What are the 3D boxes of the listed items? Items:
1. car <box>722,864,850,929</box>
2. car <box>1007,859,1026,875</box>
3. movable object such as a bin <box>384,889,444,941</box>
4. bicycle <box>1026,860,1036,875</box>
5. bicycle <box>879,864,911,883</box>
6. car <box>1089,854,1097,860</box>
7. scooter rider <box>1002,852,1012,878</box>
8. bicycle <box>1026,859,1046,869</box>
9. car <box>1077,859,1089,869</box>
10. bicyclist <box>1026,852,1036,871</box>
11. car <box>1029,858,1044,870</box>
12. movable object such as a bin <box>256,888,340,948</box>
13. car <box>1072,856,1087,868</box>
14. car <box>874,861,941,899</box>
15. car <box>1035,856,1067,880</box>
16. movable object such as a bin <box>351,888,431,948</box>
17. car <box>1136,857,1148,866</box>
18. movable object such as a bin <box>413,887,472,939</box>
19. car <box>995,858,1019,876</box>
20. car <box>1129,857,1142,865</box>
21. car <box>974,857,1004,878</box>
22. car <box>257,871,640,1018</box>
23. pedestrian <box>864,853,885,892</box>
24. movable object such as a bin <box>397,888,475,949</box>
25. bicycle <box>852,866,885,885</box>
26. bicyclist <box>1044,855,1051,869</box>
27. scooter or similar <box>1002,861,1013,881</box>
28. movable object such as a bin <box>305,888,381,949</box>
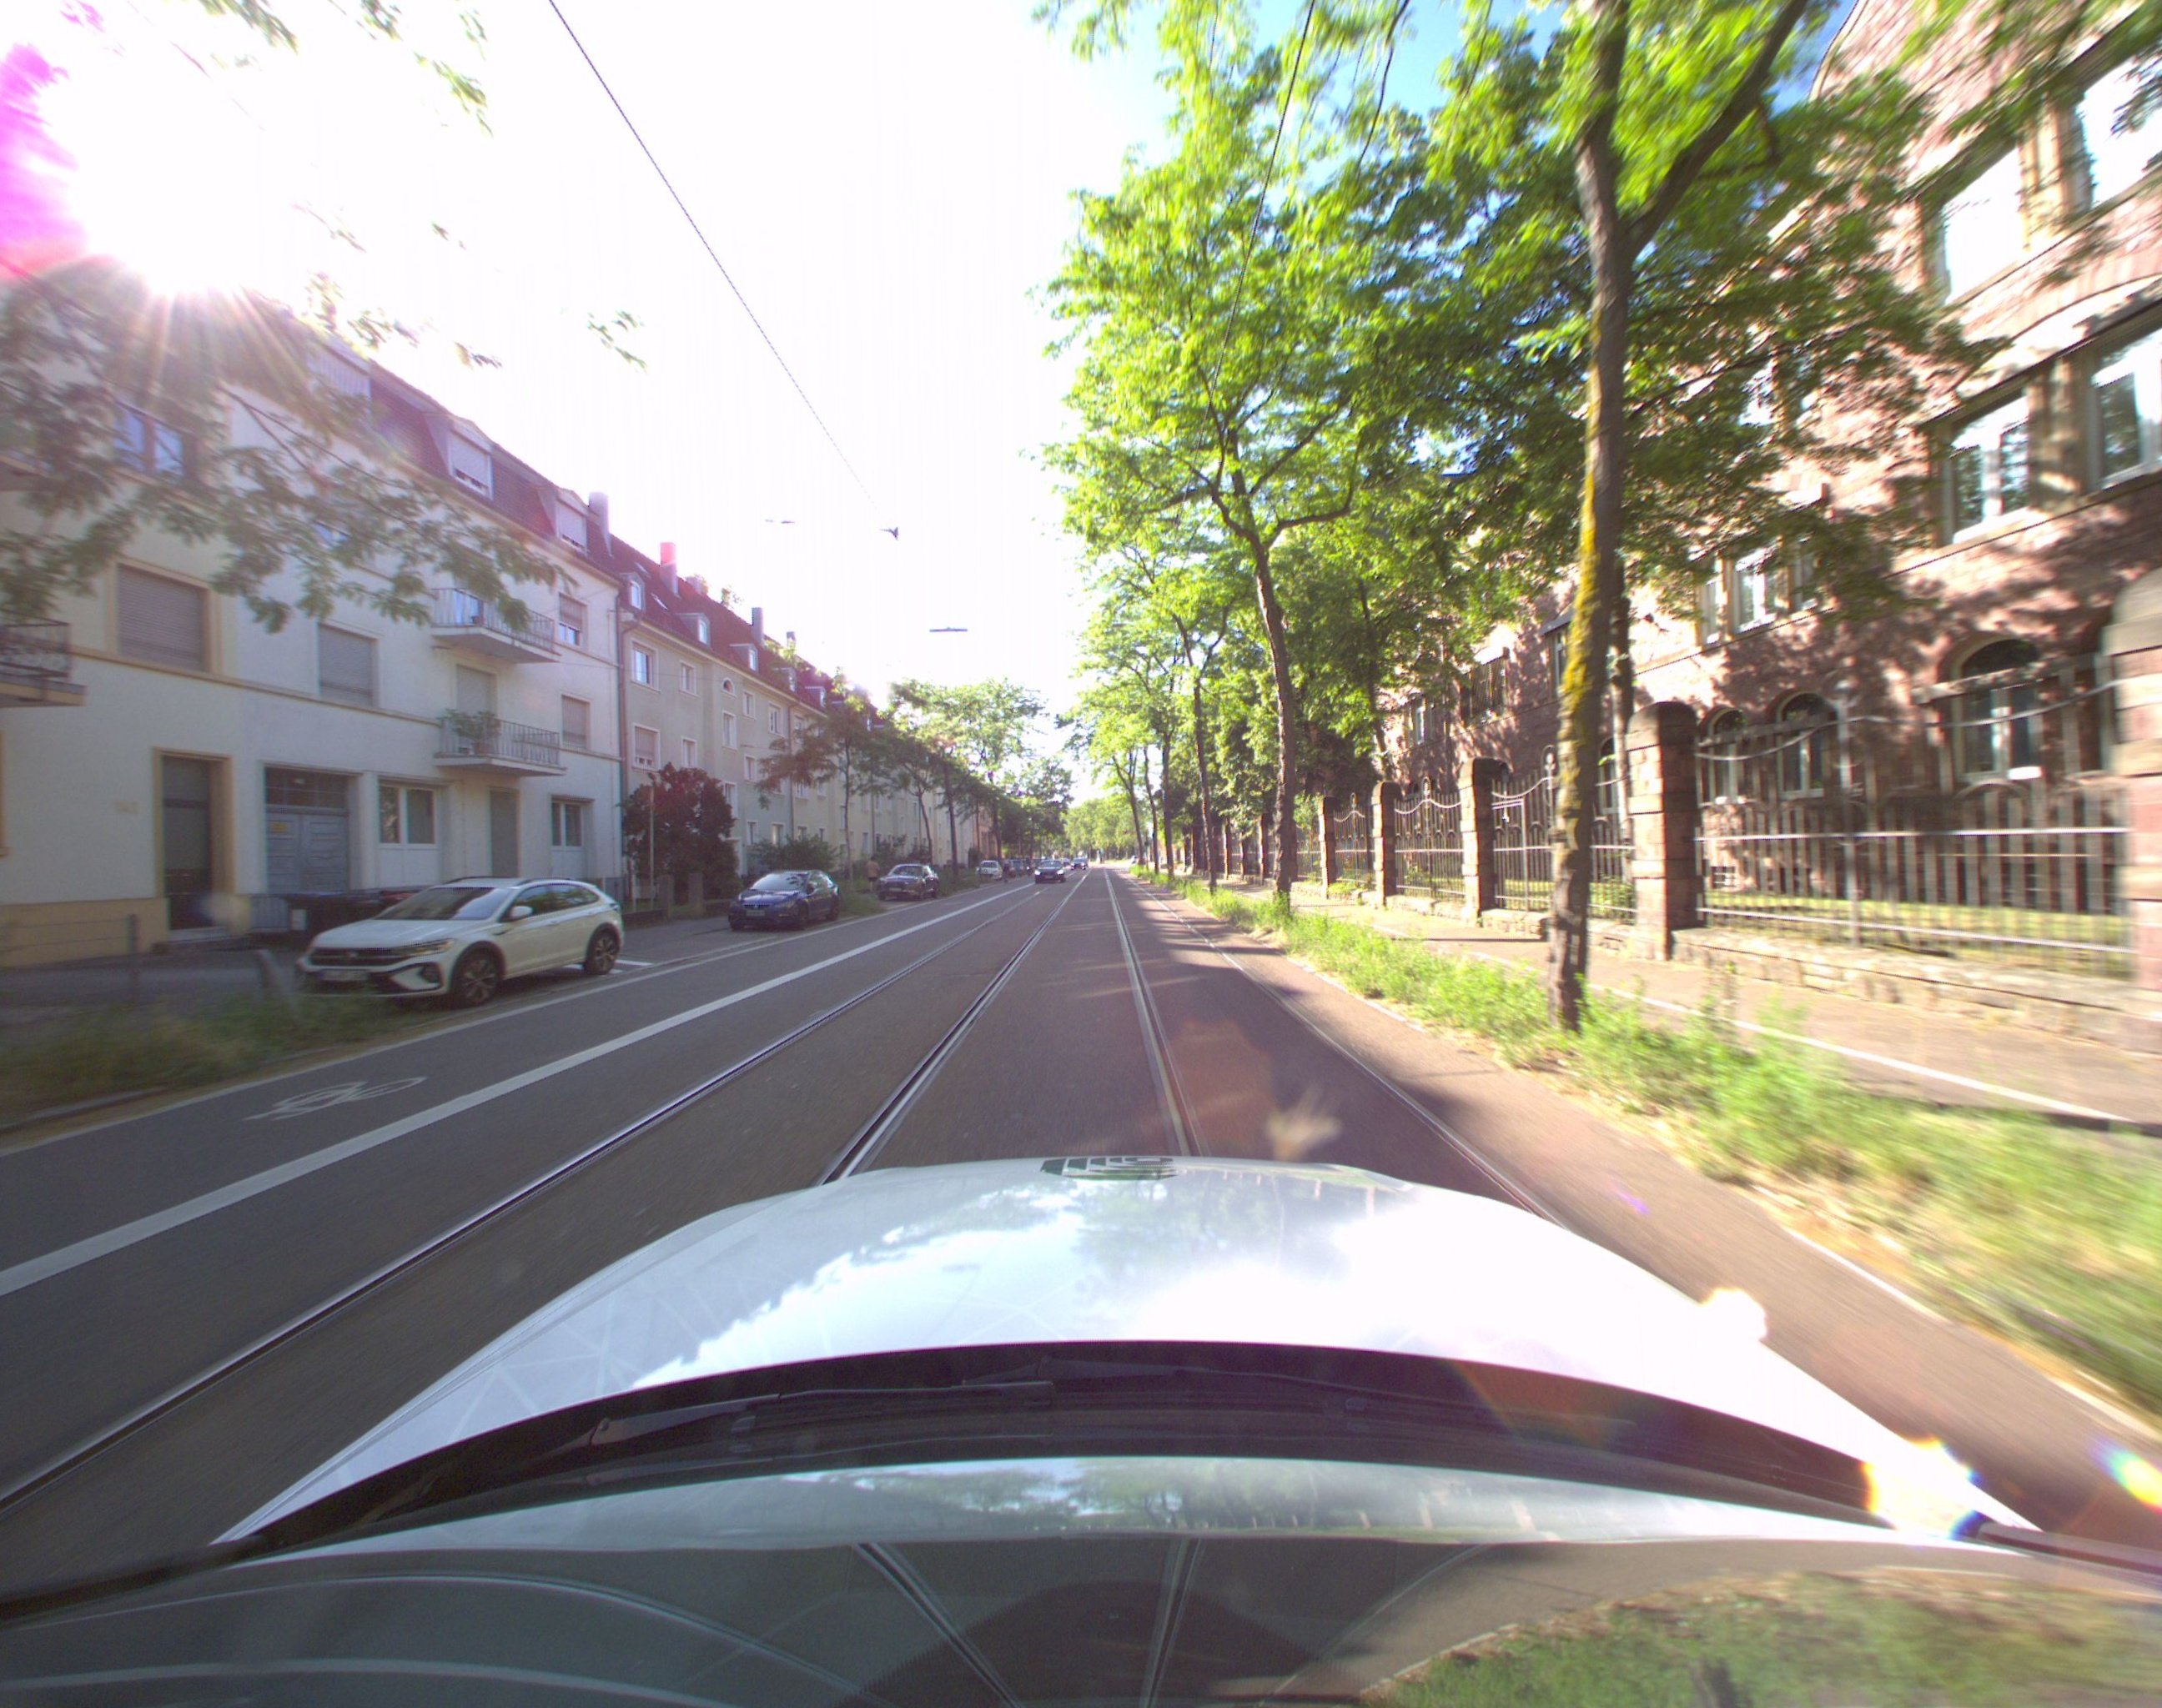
[{"bbox_3d":[-7.693,1.043,21.712,1.752,1.511,4.438,0,0,0],"label":"car"},{"bbox_3d":[-6.227,1.237,79.095,1.555,1.457,3.929,1,0,-1],"label":"car"},{"bbox_3d":[-13.258,1.198,16.197,0.557,0.975,0.733,1,0,4],"label":"movable object such as a bin"},{"bbox_3d":[-4.265,1.136,70.106,0.624,1.177,1.913,-4,0,1],"label":"bicycle"},{"bbox_3d":[-11.900,1.241,52.033,1.901,1.177,0.521,0,-1,-1],"label":"bicycle"},{"bbox_3d":[3.426,0.819,231.339,1.939,1.610,3.995,-1,0,-4],"label":"car"},{"bbox_3d":[-5.115,0.747,56.197,0.495,1.699,0.787,-5,0,1],"label":"scooter rider"},{"bbox_3d":[-5.412,1.168,97.888,2.272,1.198,0.561,1,0,8],"label":"bicycle"},{"bbox_3d":[0.356,1.493,121.518,1.694,1.471,4.071,-1,0,0],"label":"car"},{"bbox_3d":[-4.295,0.647,69.985,0.624,1.639,0.940,-4,0,1],"label":"bicyclist"},{"bbox_3d":[-5.860,1.325,107.456,1.740,1.569,4.067,1,0,-1],"label":"car"},{"bbox_3d":[-14.494,1.164,15.092,0.841,1.046,0.733,1,0,4],"label":"movable object such as a bin"},{"bbox_3d":[-0.155,0.930,98.543,1.694,1.439,4.071,-1,0,0],"label":"car"},{"bbox_3d":[-7.301,1.043,34.675,1.810,1.485,4.207,0,0,1],"label":"car"},{"bbox_3d":[-1.842,0.848,51.091,1.752,1.439,4.523,-1,0,0],"label":"car"},{"bbox_3d":[-12.804,1.167,15.139,0.841,1.046,0.733,1,0,4],"label":"movable object such as a bin"},{"bbox_3d":[10.983,1.370,146.551,1.833,1.655,3.578,-1,0,-1],"label":"car"},{"bbox_3d":[-12.680,1.169,16.198,0.557,0.975,0.733,1,0,4],"label":"movable object such as a bin"},{"bbox_3d":[-6.269,1.118,69.621,1.681,1.485,3.760,1,0,0],"label":"car"},{"bbox_3d":[10.624,1.373,159.802,1.939,1.610,3.994,-1,0,-4],"label":"car"},{"bbox_3d":[-6.815,0.977,60.682,1.696,1.485,4.080,1,0,1],"label":"car"},{"bbox_3d":[-8.133,1.039,11.139,1.811,1.511,4.371,0,0,0],"label":"car"},{"bbox_3d":[-9.860,0.884,38.901,0.689,1.801,0.813,-2,0,1],"label":"pedestrian"},{"bbox_3d":[-11.939,1.180,15.091,0.841,1.046,0.733,1,0,4],"label":"movable object such as a bin"},{"bbox_3d":[-12.915,1.313,49.511,1.901,1.177,0.521,0,-1,-1],"label":"bicycle"},{"bbox_3d":[-3.926,0.892,95.232,0.707,1.607,0.865,-4,0,1],"label":"bicyclist"},{"bbox_3d":[-5.086,1.149,56.187,0.518,1.297,1.378,-5,0,1],"label":"scooter or similar"},{"bbox_3d":[-13.643,1.179,15.074,0.704,1.046,0.733,1,0,4],"label":"movable object such as a bin"}]
